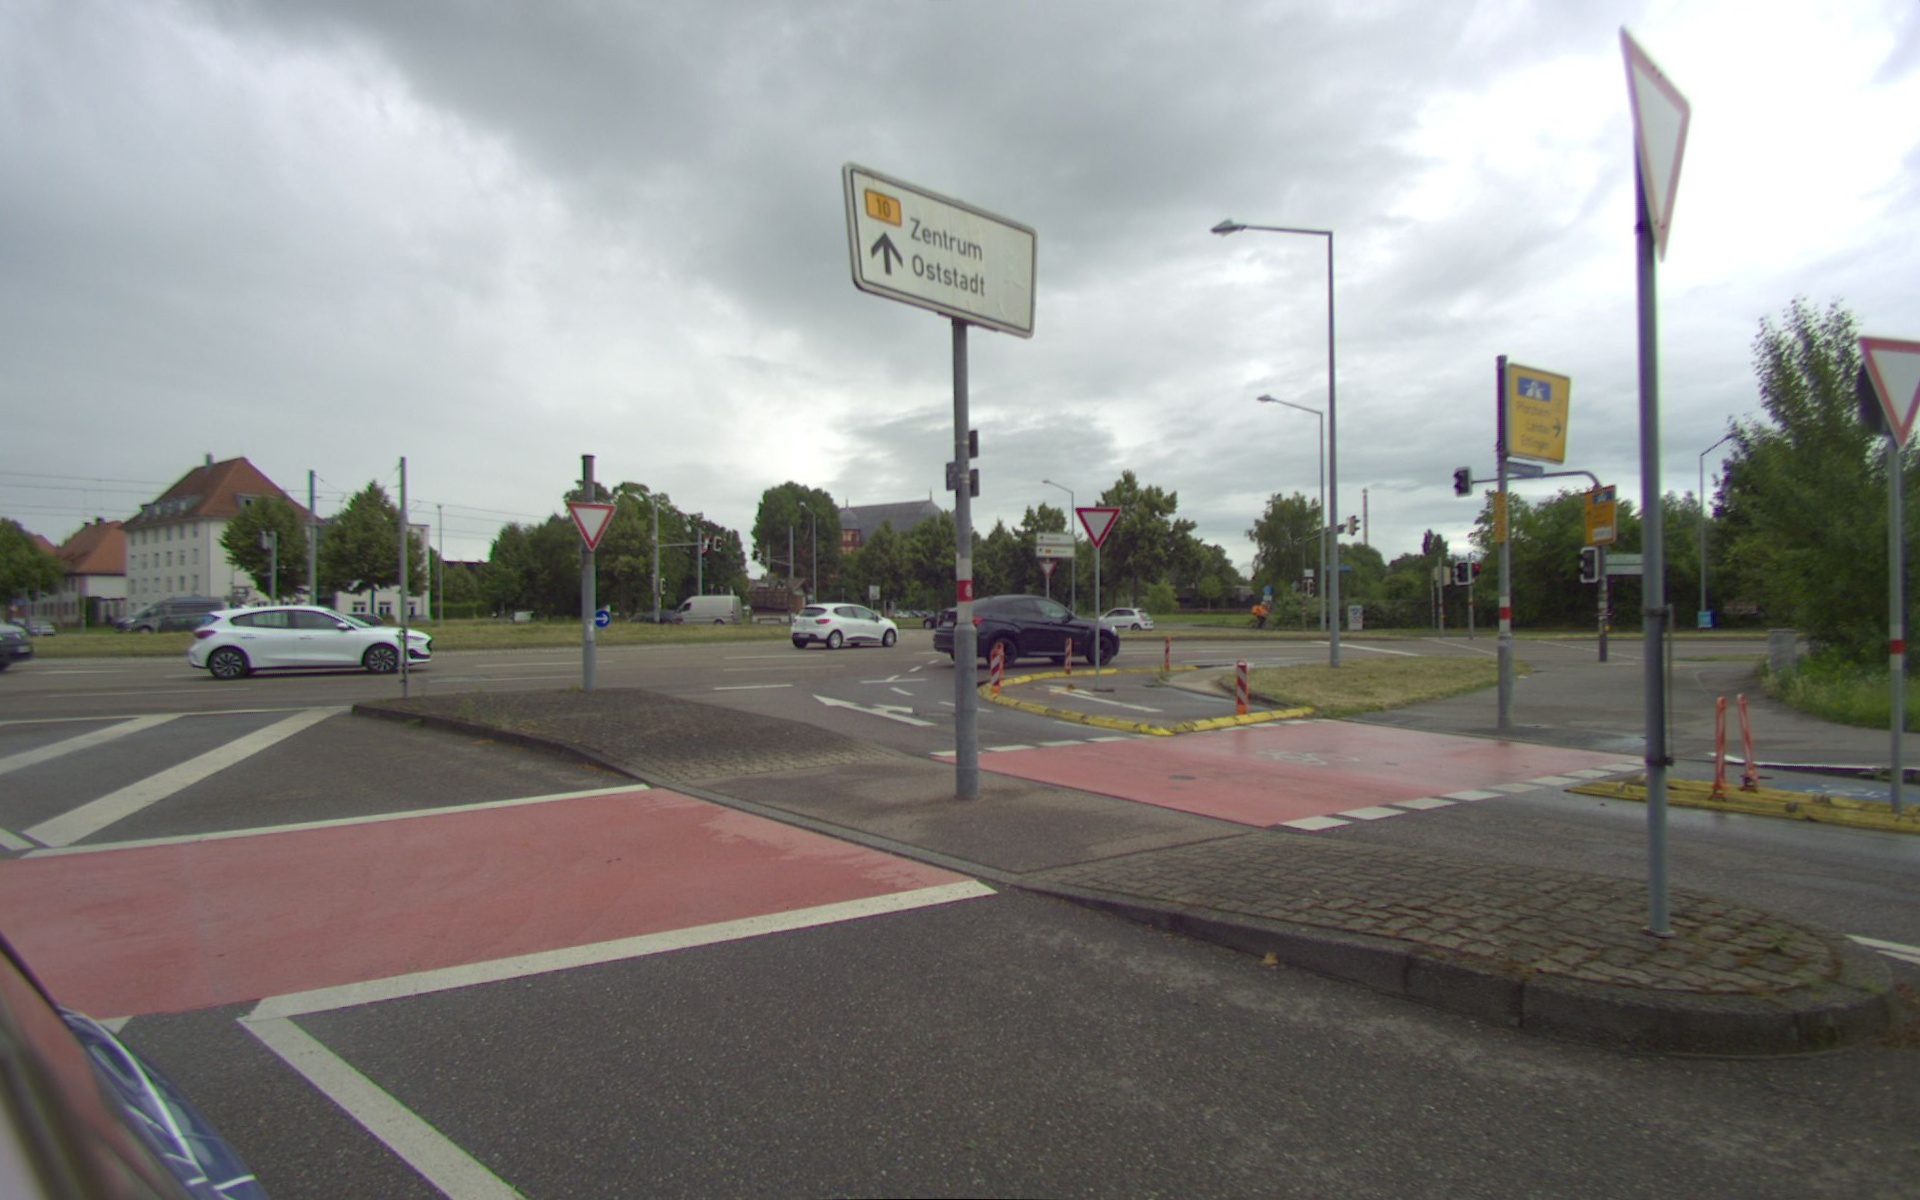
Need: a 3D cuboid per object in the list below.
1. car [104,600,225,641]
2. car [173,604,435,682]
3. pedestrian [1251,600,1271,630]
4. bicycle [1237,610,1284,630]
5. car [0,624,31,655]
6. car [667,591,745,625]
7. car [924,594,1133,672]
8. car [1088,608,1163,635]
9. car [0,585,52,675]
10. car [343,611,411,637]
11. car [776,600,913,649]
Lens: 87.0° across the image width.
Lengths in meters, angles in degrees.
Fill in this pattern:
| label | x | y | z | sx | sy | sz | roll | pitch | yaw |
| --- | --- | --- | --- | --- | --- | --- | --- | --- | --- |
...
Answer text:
| label | x | y | z | sx | sy | sz | roll | pitch | yaw |
| --- | --- | --- | --- | --- | --- | --- | --- | --- | --- |
| car | -46.335 | 1.153 | 59.064 | 2.174 | 2.259 | 5.270 | -1 | 0 | 41 |
| car | -13.704 | 0.852 | 21.485 | 4.398 | 1.468 | 1.928 | -1 | 0 | -23 |
| pedestrian | 18.550 | 0.928 | 62.304 | 0.972 | 1.784 | 0.739 | -2 | -2 | 35 |
| bicycle | 18.500 | 1.234 | 62.340 | 2.684 | 1.231 | 0.748 | -2 | -2 | 35 |
| car | -49.249 | 2.011 | 50.462 | 1.799 | 1.499 | 3.975 | -1 | 0 | 19 |
| car | -19.879 | 0.619 | 79.255 | 5.553 | 2.561 | 2.231 | -1 | -1 | 13 |
| car | 1.670 | 0.726 | 24.297 | 4.670 | 1.680 | 1.928 | -1 | 0 | -28 |
| car | 9.817 | 1.259 | 60.180 | 3.991 | 1.567 | 1.876 | -1 | -1 | 35 |
| car | -22.881 | 0.676 | 21.906 | 4.408 | 1.918 | 1.928 | -1 | 0 | -20 |
| car | -40.627 | 1.653 | 70.633 | 3.930 | 1.696 | 1.819 | -1 | 0 | -25 |
| car | -3.714 | 0.771 | 33.251 | 1.919 | 1.466 | 4.418 | -1 | 0 | 39 |
